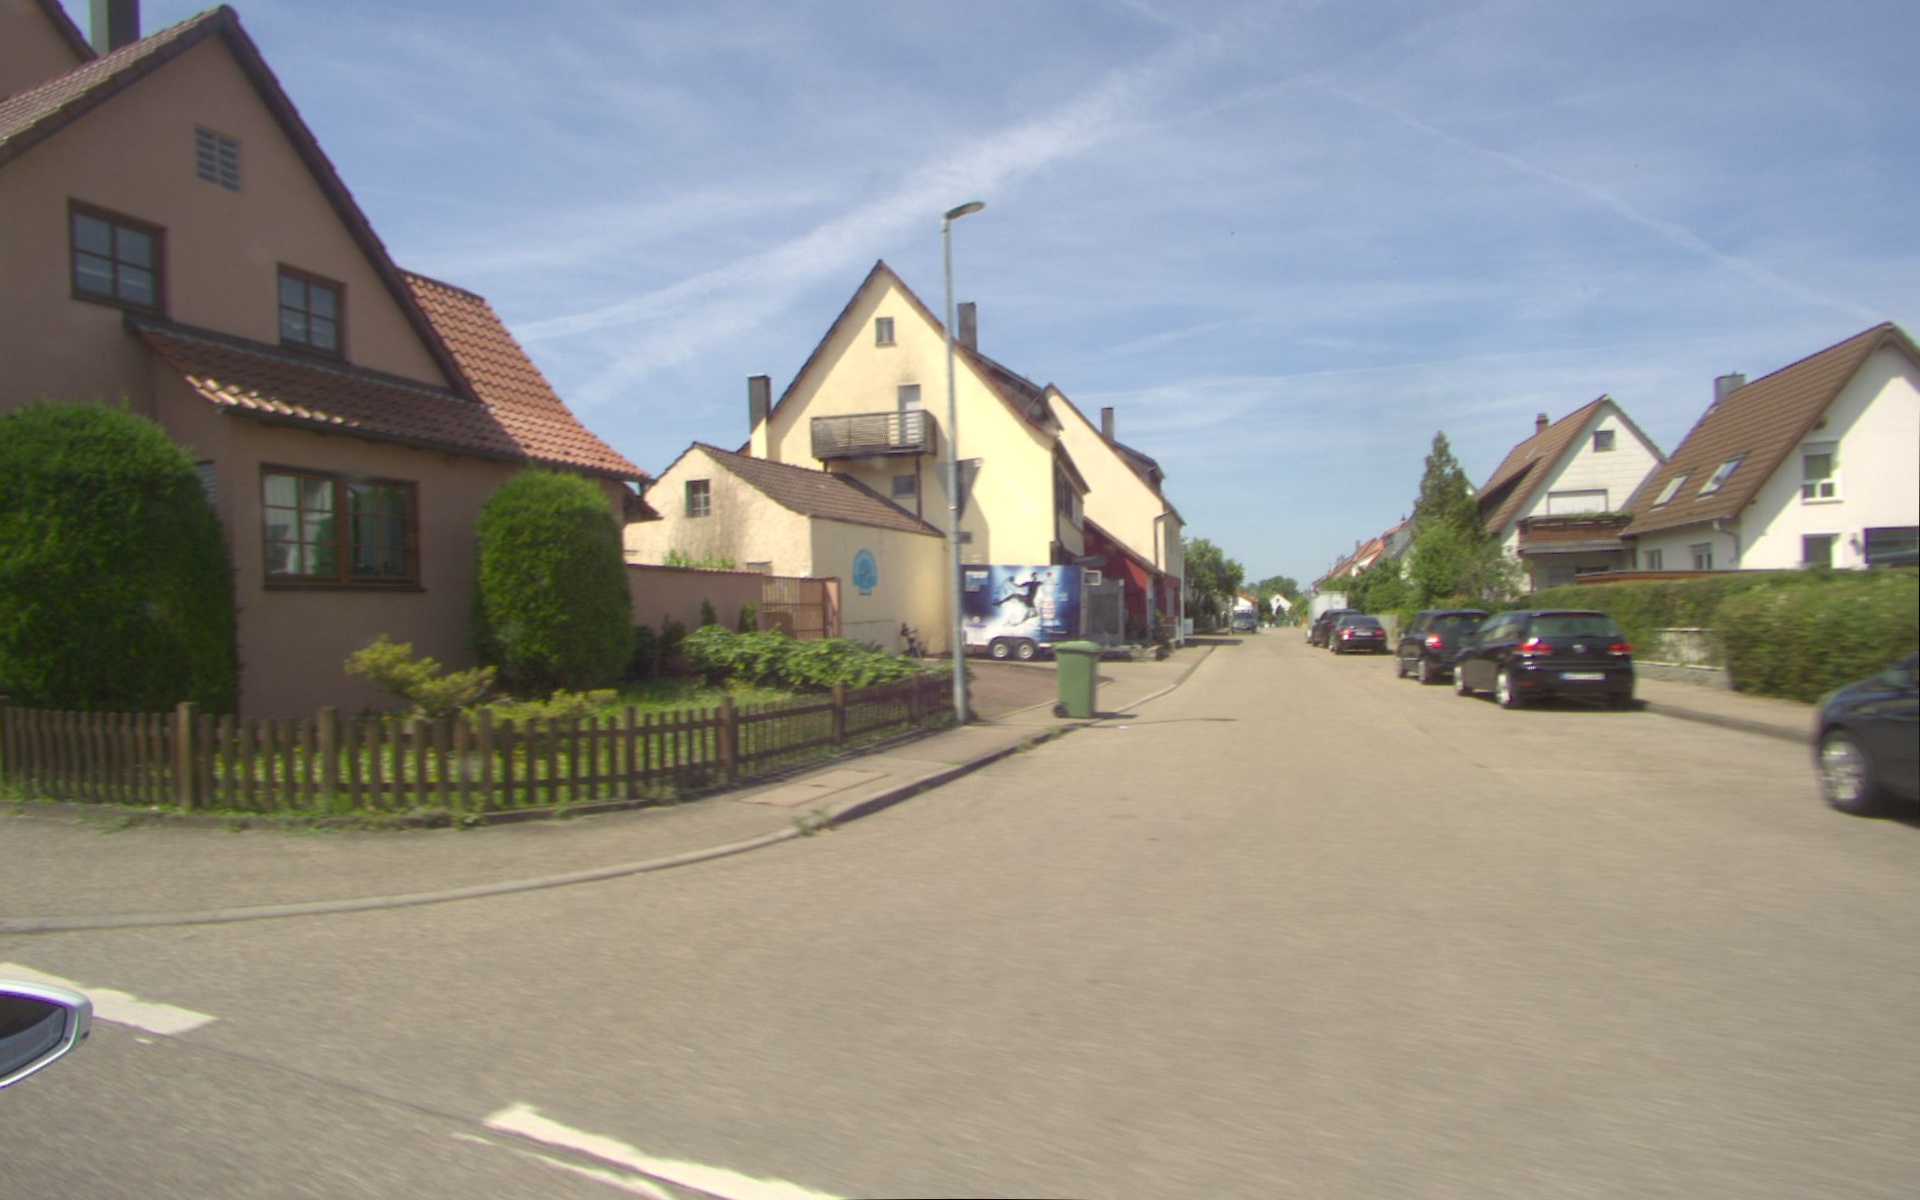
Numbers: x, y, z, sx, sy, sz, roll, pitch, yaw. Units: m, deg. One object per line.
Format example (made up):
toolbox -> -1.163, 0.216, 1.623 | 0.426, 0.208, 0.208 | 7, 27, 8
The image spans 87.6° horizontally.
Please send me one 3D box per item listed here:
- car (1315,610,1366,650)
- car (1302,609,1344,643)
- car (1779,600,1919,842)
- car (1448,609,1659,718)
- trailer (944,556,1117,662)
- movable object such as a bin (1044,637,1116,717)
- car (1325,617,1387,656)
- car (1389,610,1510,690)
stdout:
car -> 16.307, 1.260, 42.989 | 1.617, 1.623, 3.443 | 0, -1, 14
car -> 18.451, 1.303, 50.973 | 1.617, 1.623, 3.443 | 0, -1, 14
car -> 6.798, 0.737, 5.677 | 1.855, 1.507, 3.813 | -1, -1, 14
car -> 9.266, 0.916, 16.005 | 1.820, 1.507, 3.905 | 0, -1, 14
trailer -> 2.041, 0.286, 28.510 | 4.677, 2.850, 1.998 | -1, 0, 12
movable object such as a bin -> 1.728, 1.089, 14.364 | 0.993, 1.110, 0.498 | 0, 0, 9
car -> 14.397, 1.292, 36.549 | 1.617, 1.343, 3.443 | 0, -1, 14
car -> 10.368, 1.007, 21.439 | 1.617, 1.554, 3.443 | 0, -1, 14
